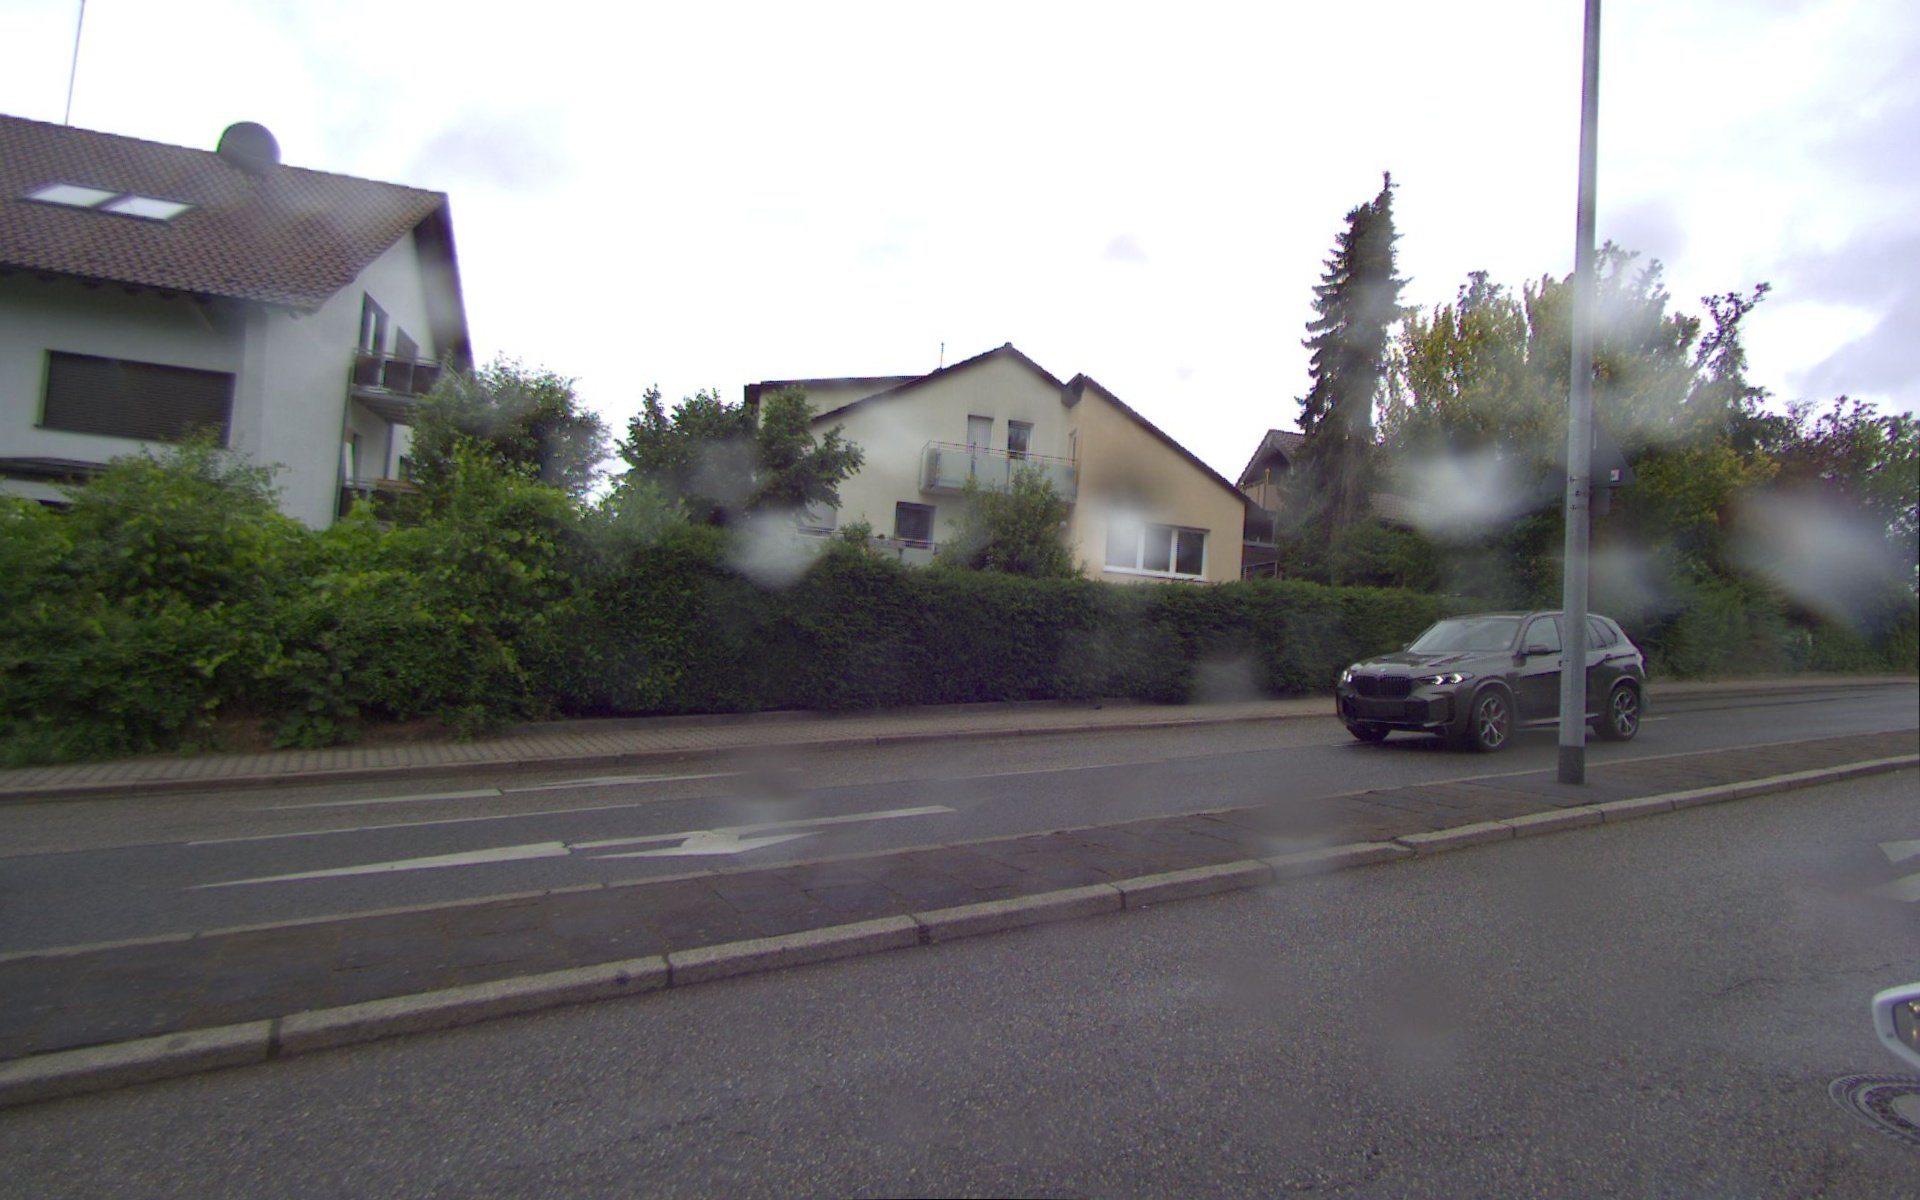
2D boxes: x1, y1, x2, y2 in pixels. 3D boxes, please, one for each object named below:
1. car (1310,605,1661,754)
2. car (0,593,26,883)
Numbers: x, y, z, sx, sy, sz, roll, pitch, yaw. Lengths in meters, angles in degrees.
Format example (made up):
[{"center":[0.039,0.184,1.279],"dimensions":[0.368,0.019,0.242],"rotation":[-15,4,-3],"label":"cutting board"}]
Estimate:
[{"center":[7.214,1.007,13.720],"dimensions":[4.659,1.739,1.986],"rotation":[1,-2,-28],"label":"car"},{"center":[-6.809,0.712,4.167],"dimensions":[3.988,1.623,1.733],"rotation":[2,-3,-33],"label":"car"}]
